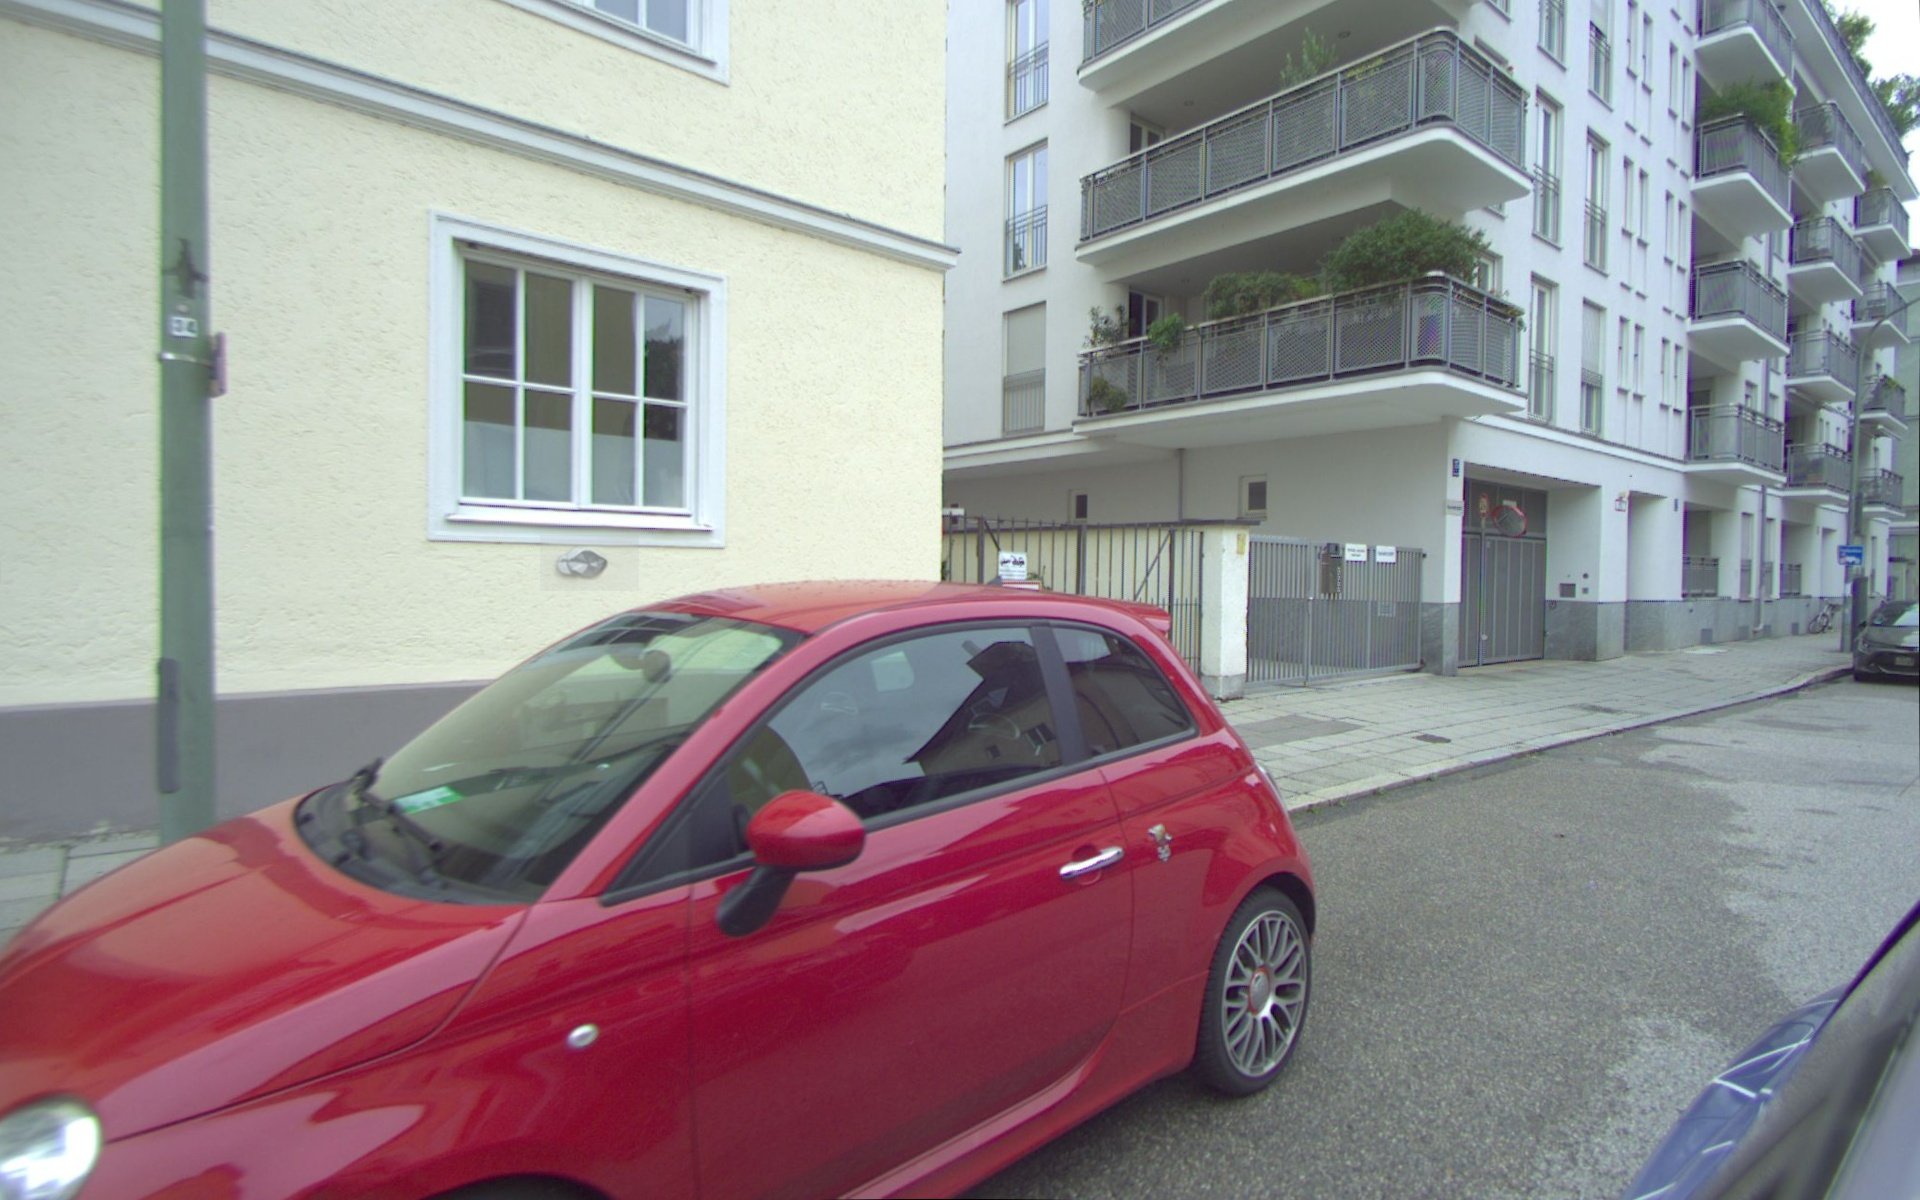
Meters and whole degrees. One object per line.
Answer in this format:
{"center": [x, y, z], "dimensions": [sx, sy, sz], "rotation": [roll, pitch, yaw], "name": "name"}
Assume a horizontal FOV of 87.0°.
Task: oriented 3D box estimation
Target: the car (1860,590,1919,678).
{"center": [17.249, 0.551, 17.808], "dimensions": [4.176, 1.411, 1.781], "rotation": [-1, 2, -44], "name": "car"}

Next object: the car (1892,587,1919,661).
{"center": [20.930, 0.477, 21.157], "dimensions": [3.359, 1.475, 1.765], "rotation": [-1, 2, -41], "name": "car"}

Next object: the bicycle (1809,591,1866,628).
{"center": [25.378, 0.264, 29.262], "dimensions": [1.913, 1.027, 0.582], "rotation": [-1, 0, -28], "name": "bicycle"}

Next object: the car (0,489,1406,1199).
{"center": [-0.425, 0.595, 2.857], "dimensions": [3.758, 1.516, 1.682], "rotation": [-1, 2, -42], "name": "car"}
